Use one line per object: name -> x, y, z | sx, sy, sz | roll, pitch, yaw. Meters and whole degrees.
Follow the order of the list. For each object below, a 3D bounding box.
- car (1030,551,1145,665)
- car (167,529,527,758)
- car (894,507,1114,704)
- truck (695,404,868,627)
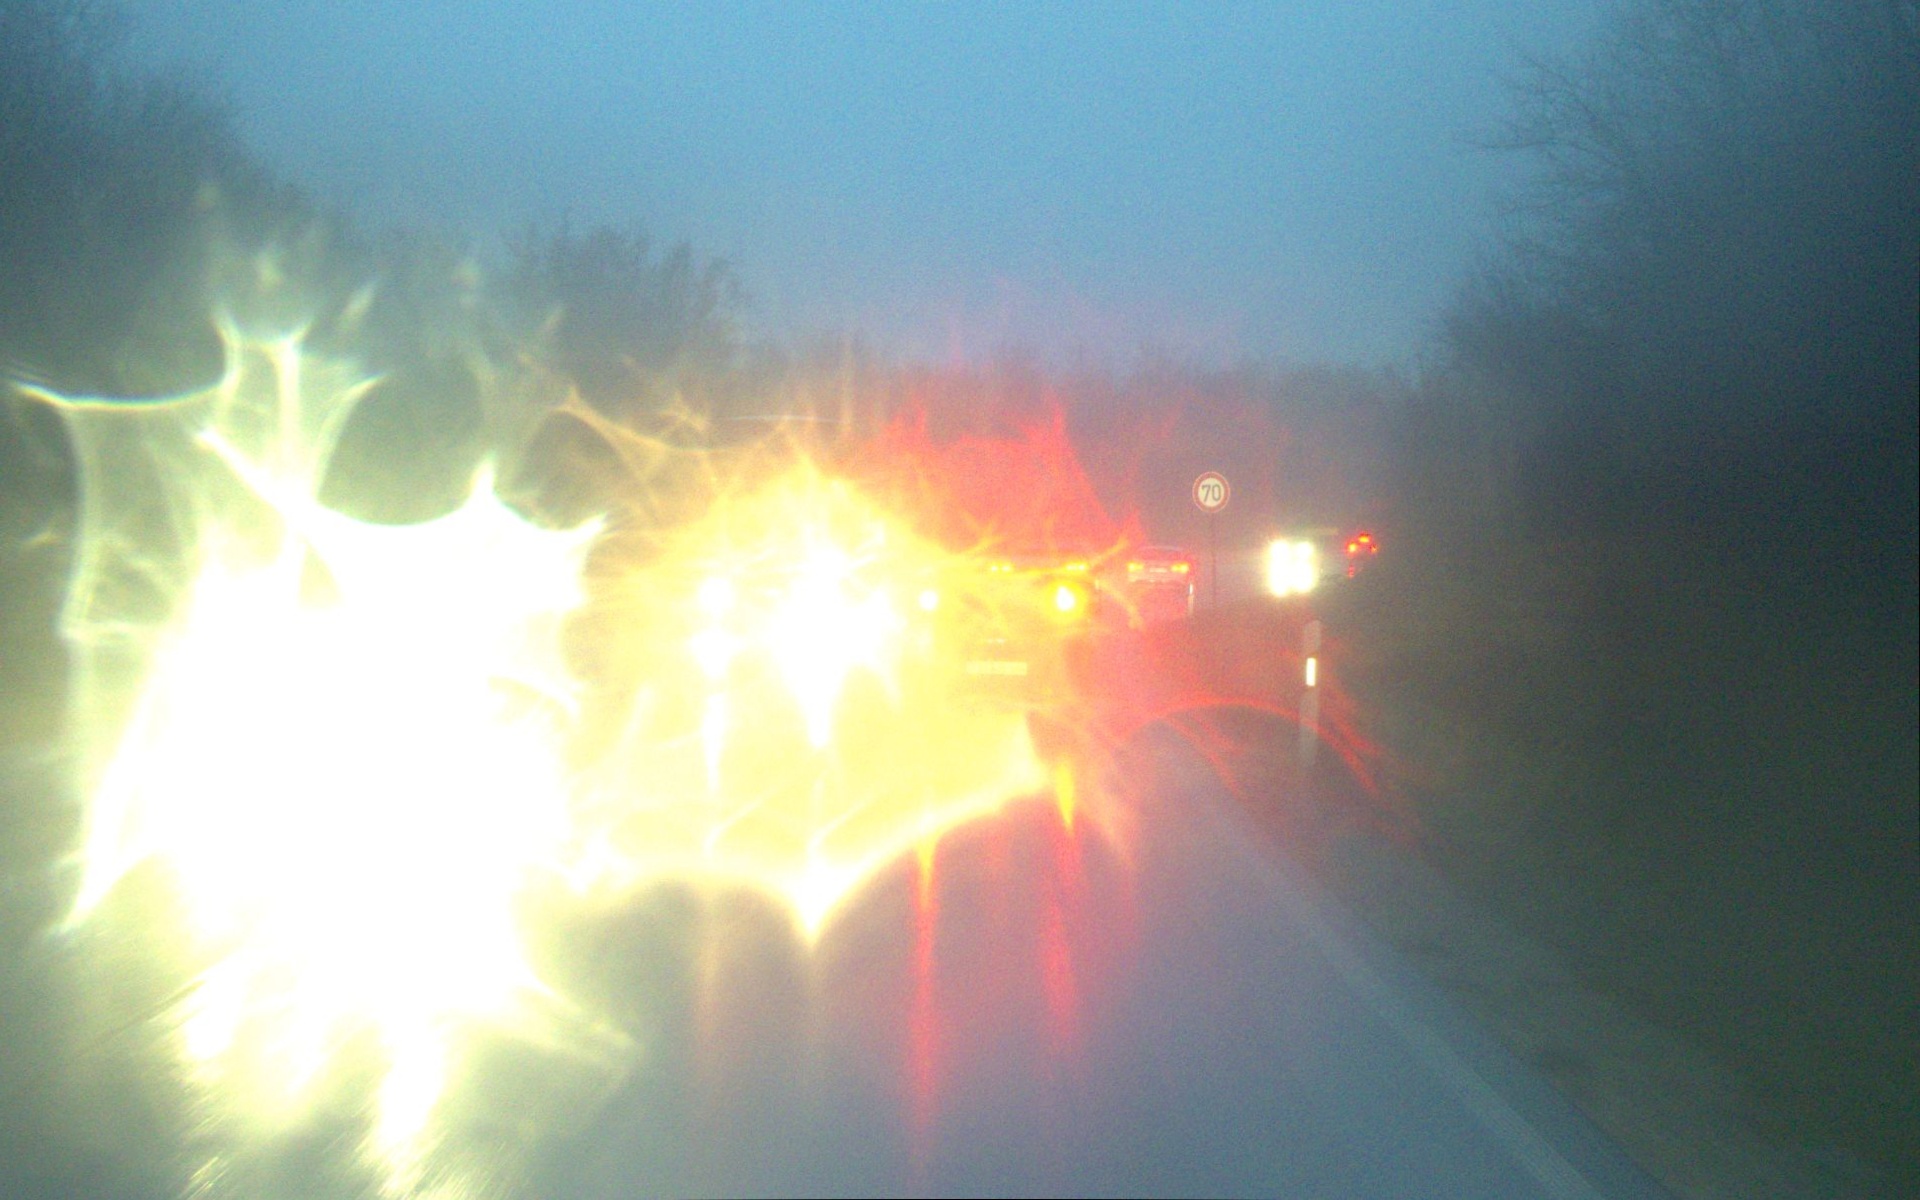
car -> 2.412, 0.123, 64.205 | 1.994, 2.007, 4.000 | 0, 1, 4
car -> -4.347, 0.244, 25.033 | 1.745, 1.468, 4.484 | 2, 1, 1
car -> 0.332, 0.000, 30.910 | 1.727, 1.637, 4.001 | -1, 1, -3
truck -> -3.092, -1.503, 61.624 | 2.822, 3.703, 8.534 | -1, 1, -1
